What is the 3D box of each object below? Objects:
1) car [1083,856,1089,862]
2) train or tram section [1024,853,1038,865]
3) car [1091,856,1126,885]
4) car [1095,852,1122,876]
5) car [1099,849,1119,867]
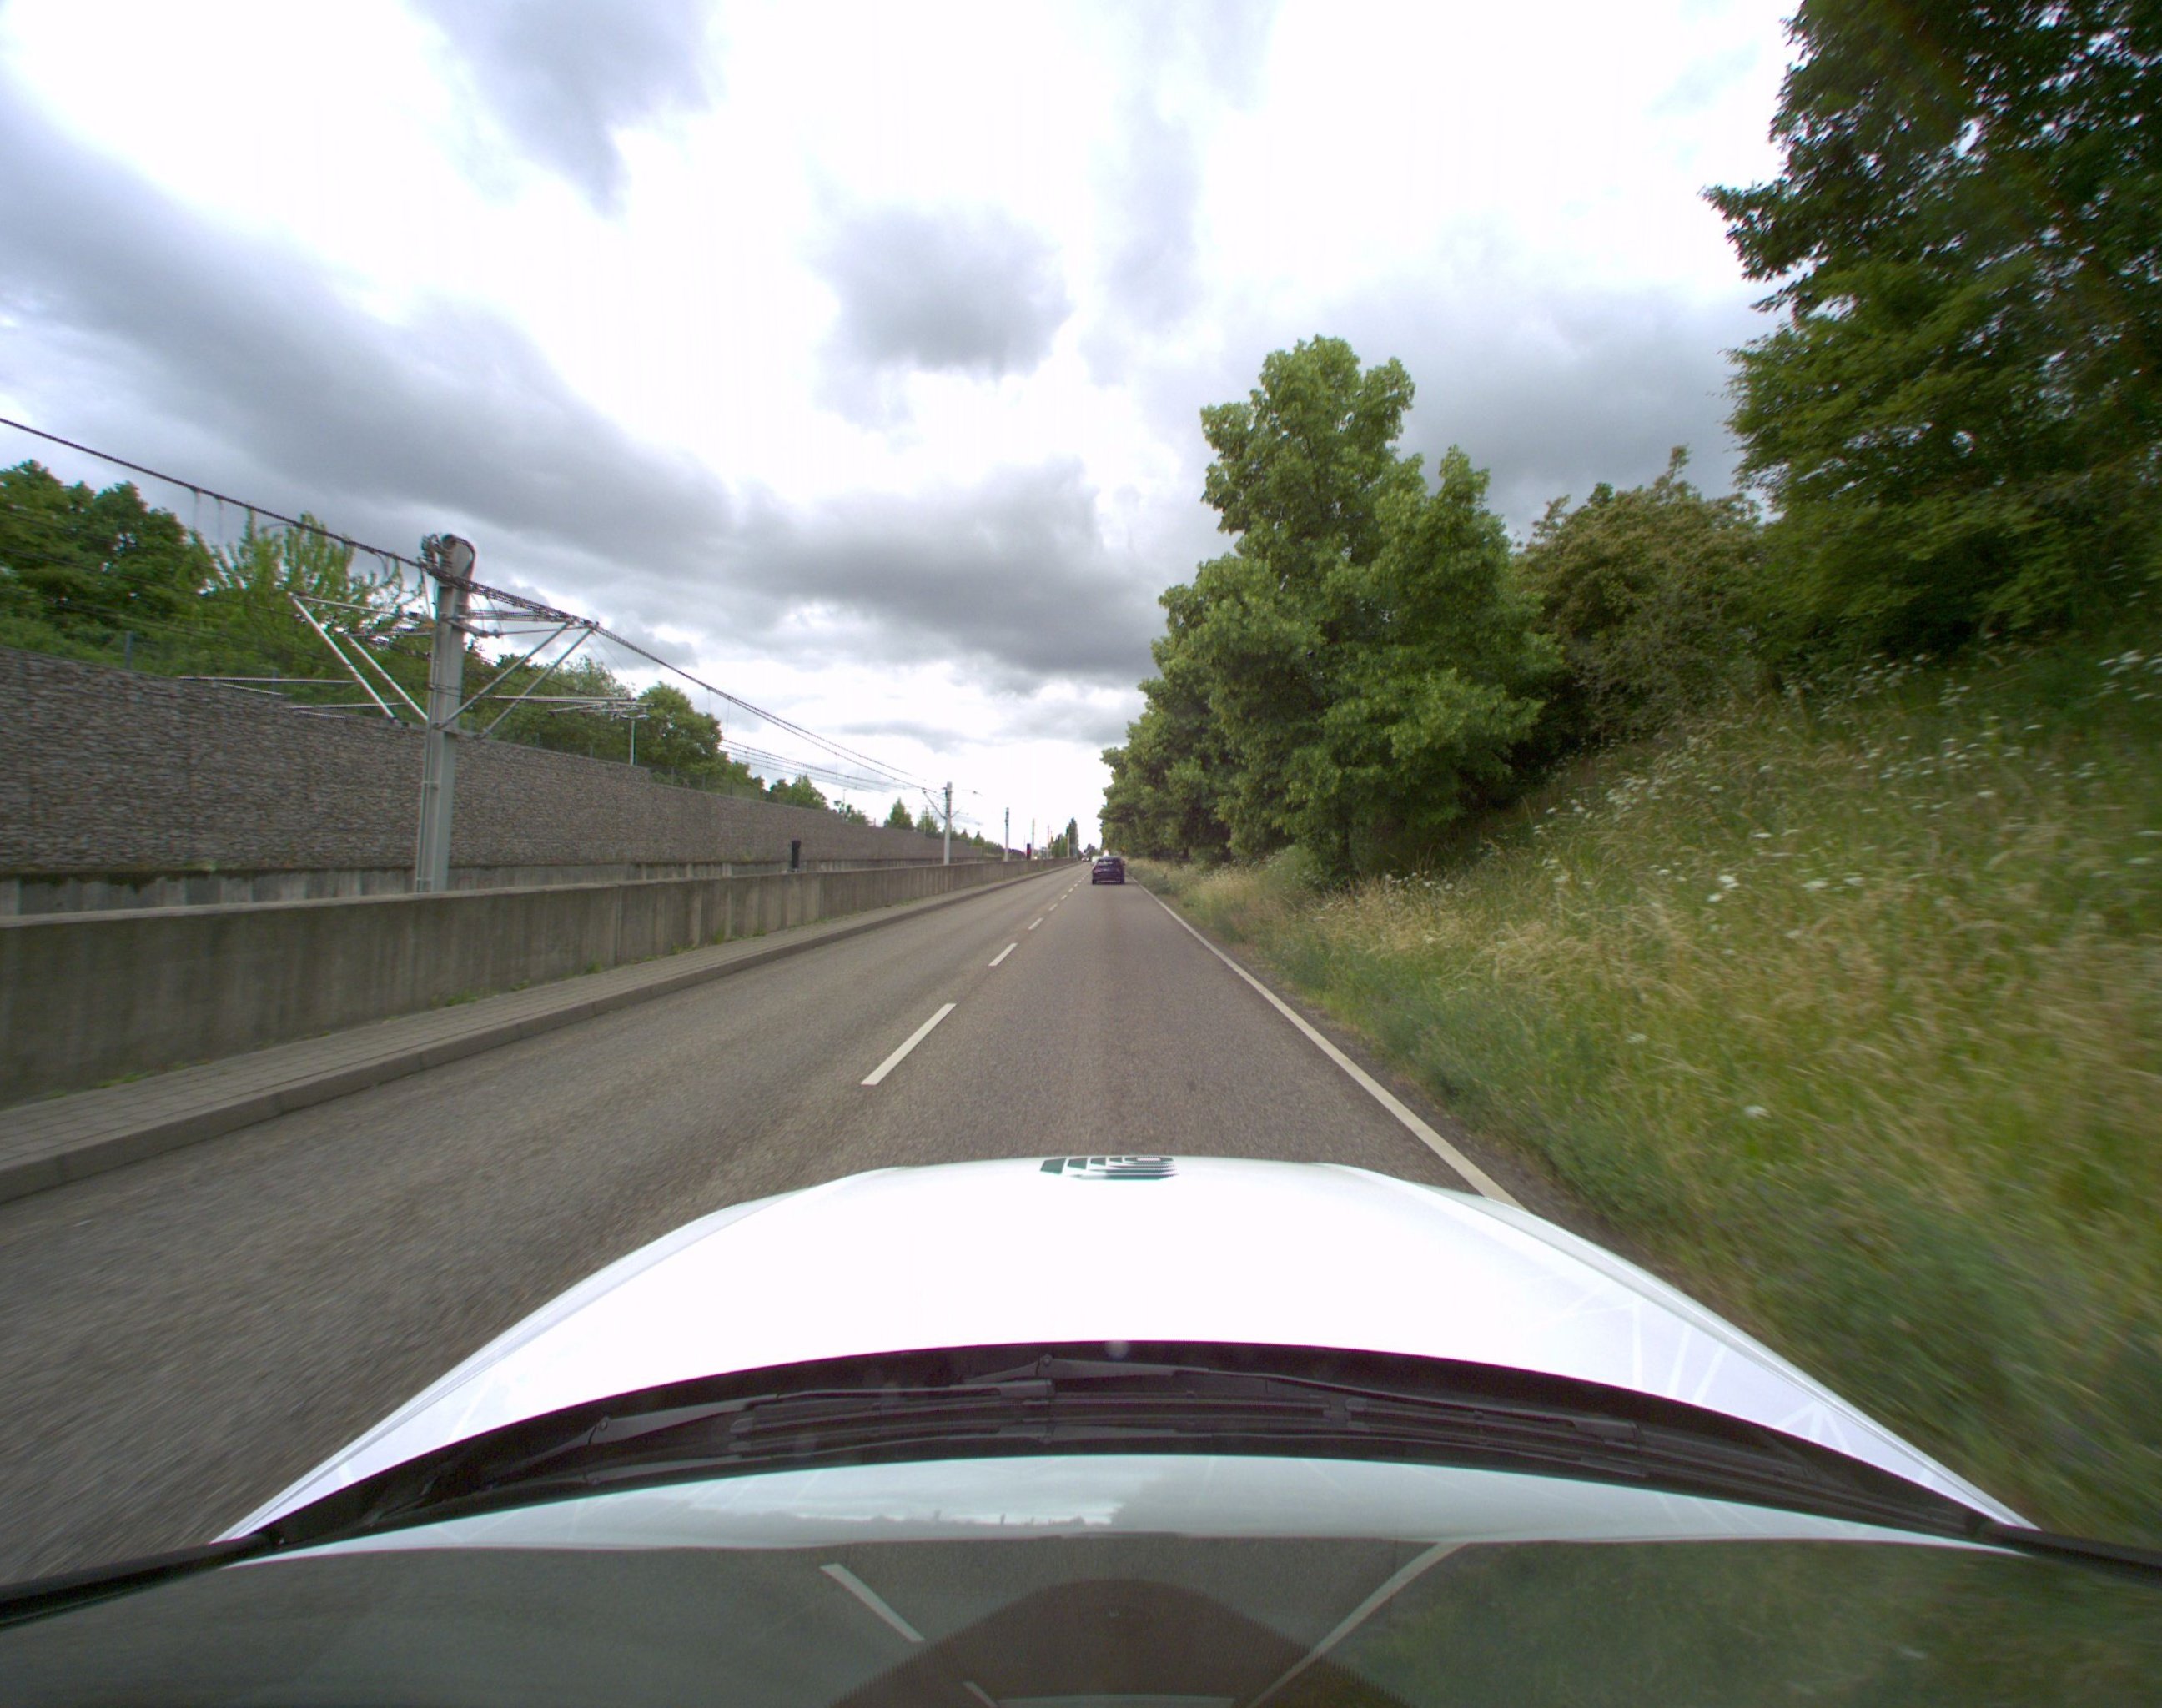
[{"bbox_3d":[1.377,1.446,221.825,1.657,1.545,3.953,-1,0,1],"label":"car"},{"bbox_3d":[-14.035,1.518,225.931,2.808,3.117,18.869,0,-1,-7],"label":"train or tram section"},{"bbox_3d":[1.491,0.851,44.338,1.775,1.468,4.002,0,0,2],"label":"car"},{"bbox_3d":[2.088,0.752,62.378,1.986,1.753,4.002,0,0,2],"label":"car"},{"bbox_3d":[2.907,0.414,84.053,1.986,1.740,4.001,-1,-1,2],"label":"car"}]
